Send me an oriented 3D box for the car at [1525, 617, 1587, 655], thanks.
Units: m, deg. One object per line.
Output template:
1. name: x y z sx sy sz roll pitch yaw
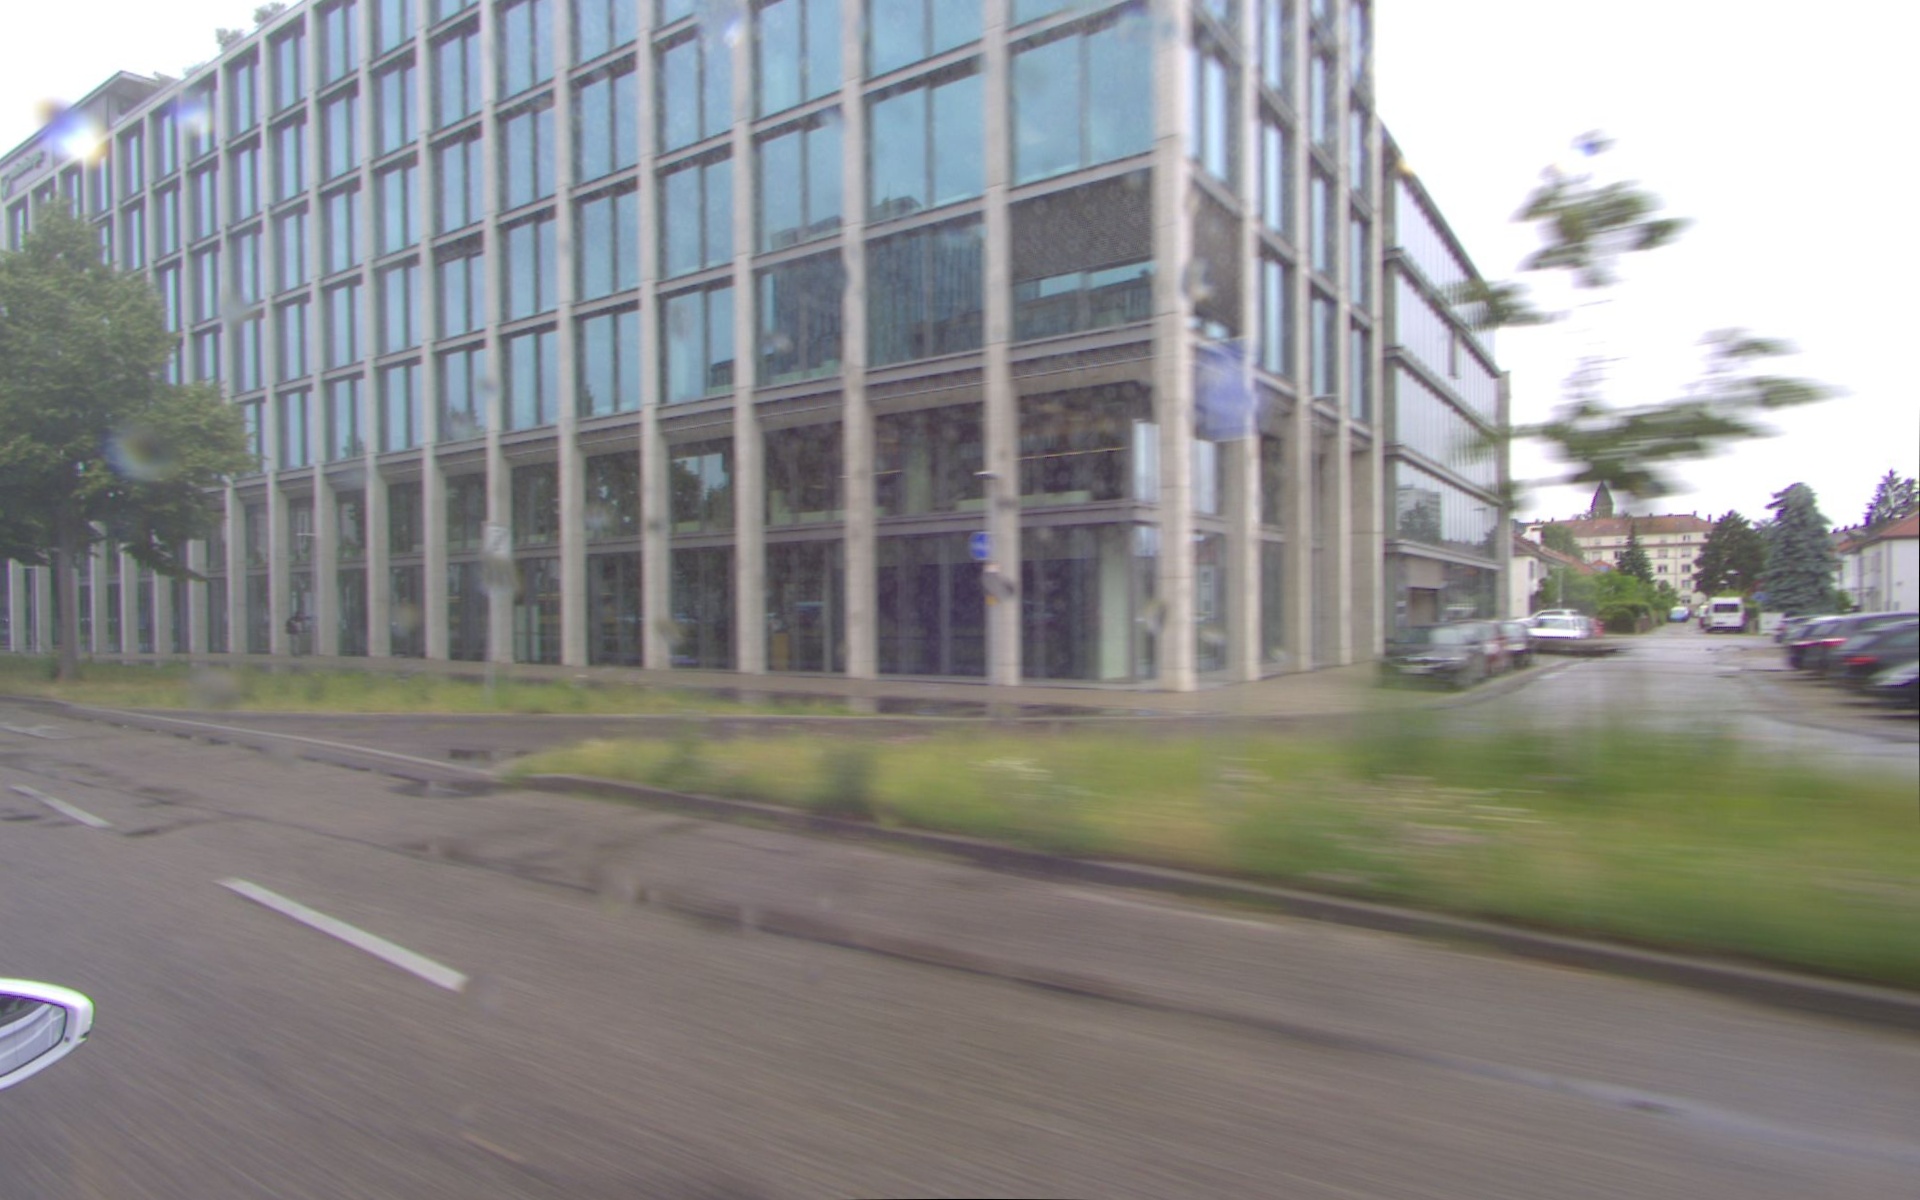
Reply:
1. car: 25.303 1.488 42.459 1.837 1.457 3.974 1 0 37

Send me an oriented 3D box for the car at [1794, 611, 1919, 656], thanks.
1. car: 34.934 1.290 38.545 3.974 1.514 1.853 -5 -3 30

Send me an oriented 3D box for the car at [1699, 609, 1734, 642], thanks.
1. car: 66.778 2.266 88.405 2.196 2.817 4.481 0 -2 34

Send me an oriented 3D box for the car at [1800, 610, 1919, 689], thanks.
1. car: 21.351 1.025 21.910 4.363 1.621 1.848 -5 -4 37

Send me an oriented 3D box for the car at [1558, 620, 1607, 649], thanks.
1. car: 32.604 1.782 52.399 1.837 1.434 3.974 0 -1 37

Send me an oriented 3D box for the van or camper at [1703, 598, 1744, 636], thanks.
1. van or camper: 54.974 1.221 72.158 2.065 2.618 5.598 0 -1 35

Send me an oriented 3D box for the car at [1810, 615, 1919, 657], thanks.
1. car: 33.898 1.298 36.593 3.976 1.369 1.694 -5 -3 31

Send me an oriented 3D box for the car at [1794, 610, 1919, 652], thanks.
1. car: 39.778 1.378 44.524 3.737 1.621 1.853 -5 -3 30

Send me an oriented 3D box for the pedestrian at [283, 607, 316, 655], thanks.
1. pedestrian: -24.809 1.147 37.605 0.848 1.738 0.715 0 2 31

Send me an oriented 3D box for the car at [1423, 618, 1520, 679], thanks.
1. car: 14.367 1.293 28.041 1.836 1.508 3.975 2 1 35

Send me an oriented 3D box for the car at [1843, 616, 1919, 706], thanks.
1. car: 17.926 0.907 16.734 4.504 1.472 1.848 -6 -4 37

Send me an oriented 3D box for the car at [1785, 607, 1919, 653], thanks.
1. car: 35.922 1.216 40.173 3.974 1.621 1.853 -5 -3 30

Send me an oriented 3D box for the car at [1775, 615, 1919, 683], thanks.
1. car: 22.561 1.160 24.283 4.180 1.493 1.779 -5 -4 37

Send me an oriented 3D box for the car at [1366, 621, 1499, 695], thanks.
1. car: 10.963 1.245 23.096 1.955 1.457 4.204 2 0 37

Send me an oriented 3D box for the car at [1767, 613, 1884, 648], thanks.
1. car: 42.500 1.507 49.316 3.974 1.472 1.853 -5 -3 30

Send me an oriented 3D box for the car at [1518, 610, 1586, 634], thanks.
1. car: 40.482 1.493 68.526 3.942 1.603 1.852 0 -1 32

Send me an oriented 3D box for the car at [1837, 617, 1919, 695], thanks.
1. car: 19.596 1.035 19.213 3.951 1.473 1.848 -4 -3 37

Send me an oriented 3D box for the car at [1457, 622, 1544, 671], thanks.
1. car: 17.117 1.419 31.636 1.837 1.390 3.974 1 0 37

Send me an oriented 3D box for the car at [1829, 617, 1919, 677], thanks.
1. car: 26.647 1.272 27.589 3.949 1.622 1.848 -1 -1 37

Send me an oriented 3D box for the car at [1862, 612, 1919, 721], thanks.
1. car: 16.018 0.865 14.667 3.956 1.599 1.847 -7 -5 39
